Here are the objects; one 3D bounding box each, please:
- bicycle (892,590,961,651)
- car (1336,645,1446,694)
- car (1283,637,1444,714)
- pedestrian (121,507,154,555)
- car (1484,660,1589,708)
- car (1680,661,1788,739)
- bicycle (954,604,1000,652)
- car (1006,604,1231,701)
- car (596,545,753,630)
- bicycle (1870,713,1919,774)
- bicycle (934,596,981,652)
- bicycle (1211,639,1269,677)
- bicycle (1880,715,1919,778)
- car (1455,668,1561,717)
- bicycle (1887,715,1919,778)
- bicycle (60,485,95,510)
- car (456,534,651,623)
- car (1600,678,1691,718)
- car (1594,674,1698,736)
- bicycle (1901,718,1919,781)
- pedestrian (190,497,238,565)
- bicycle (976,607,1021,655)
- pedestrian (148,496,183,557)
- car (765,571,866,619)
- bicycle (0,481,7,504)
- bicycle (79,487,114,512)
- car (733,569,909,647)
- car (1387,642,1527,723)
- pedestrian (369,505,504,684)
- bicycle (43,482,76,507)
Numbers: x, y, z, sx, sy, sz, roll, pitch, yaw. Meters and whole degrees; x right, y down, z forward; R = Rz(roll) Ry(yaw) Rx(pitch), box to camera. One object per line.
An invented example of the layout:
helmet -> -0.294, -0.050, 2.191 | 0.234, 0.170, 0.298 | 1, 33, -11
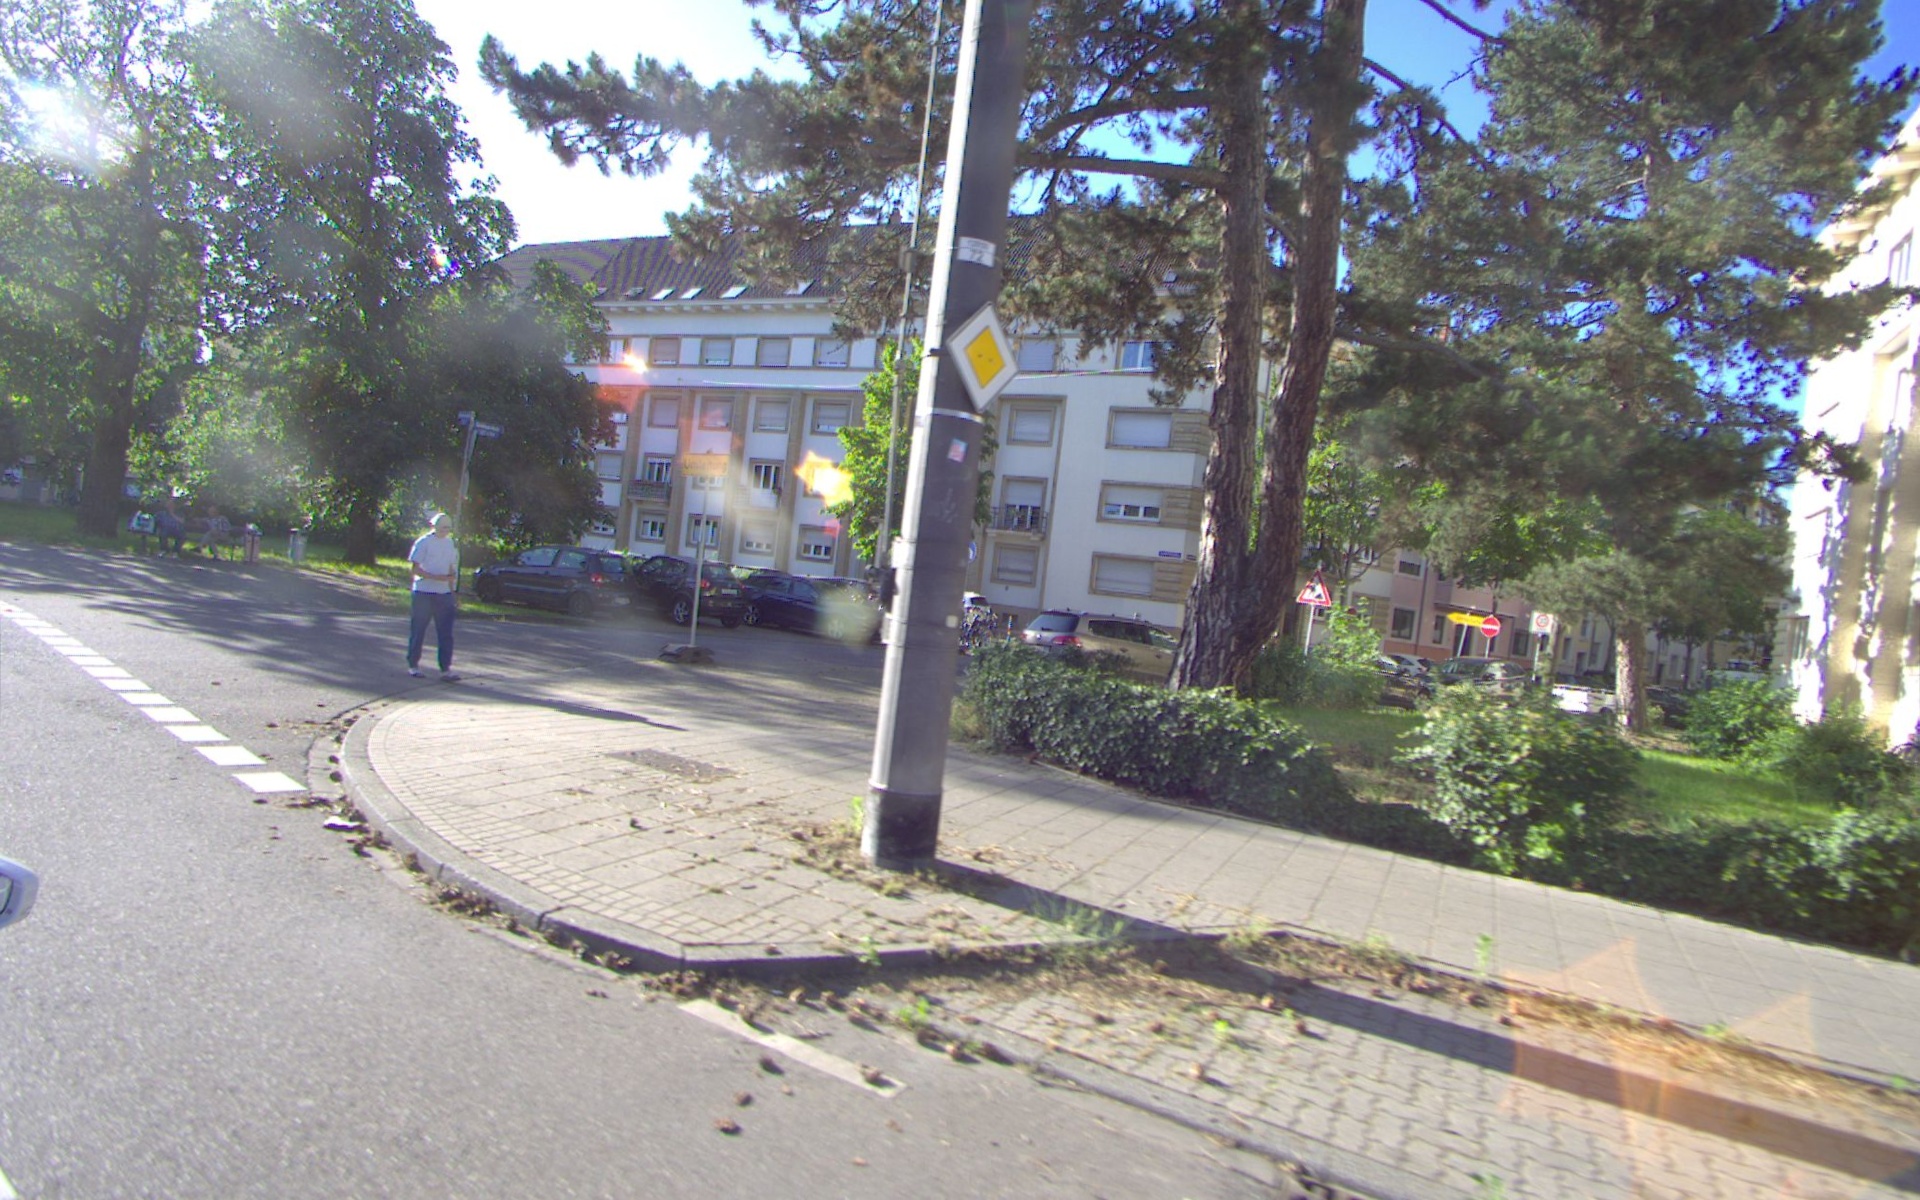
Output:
bicycle -> -0.980, 0.560, 28.347 | 0.747, 1.475, 2.318 | 9, -1, -31
car -> 18.880, 3.026, 44.247 | 1.802, 1.570, 3.963 | 9, -2, -35
car -> 9.678, 1.827, 24.039 | 3.878, 1.489, 1.750 | 5, 2, -38
pedestrian -> -17.660, -1.486, 21.609 | 0.401, 0.946, 0.617 | 9, 1, -35
car -> 29.063, 4.220, 50.804 | 1.983, 1.725, 3.963 | 9, -2, -35
car -> 31.305, 4.078, 40.609 | 5.281, 2.470, 2.103 | 10, -2, -39
bicycle -> 0.467, 0.784, 29.015 | 0.552, 1.241, 2.331 | 8, -2, -14
car -> 3.116, 1.035, 19.318 | 4.268, 1.519, 1.752 | 6, -1, -38
car -> -7.020, -0.313, 24.600 | 3.745, 1.593, 1.452 | 8, 2, 32
bicycle -> 19.582, 2.977, 20.500 | 1.365, 1.127, 0.389 | 8, 3, 34
bicycle -> -0.097, 0.651, 28.779 | 0.552, 1.475, 2.330 | 8, -1, -15
bicycle -> 10.964, 2.250, 39.504 | 2.035, 1.202, 0.594 | 7, -1, 45
bicycle -> 19.148, 2.954, 19.799 | 1.365, 1.127, 0.389 | 8, 3, 34
car -> 26.781, 4.514, 49.248 | 1.983, 1.725, 3.963 | 9, -2, -35
bicycle -> 18.887, 2.898, 19.373 | 1.365, 1.127, 0.389 | 8, 3, 34
bicycle -> -45.080, -5.258, 51.375 | 1.972, 1.046, 0.598 | 8, -1, 28
car -> -9.100, -0.475, 22.566 | 3.737, 1.514, 1.640 | 7, 2, 17
car -> 41.130, 5.877, 60.447 | 1.983, 1.725, 3.963 | 9, -2, -35
car -> 23.729, 3.653, 34.764 | 3.972, 1.629, 1.781 | 10, -2, -39
bicycle -> 18.491, 2.872, 18.637 | 1.365, 1.127, 0.389 | 8, 3, 34
pedestrian -> -16.725, -1.544, 22.573 | 0.681, 1.389, 0.748 | 9, -1, -35
bicycle -> 1.091, 0.872, 29.105 | 0.546, 1.232, 2.332 | 8, -2, -13
pedestrian -> -17.284, -1.595, 21.903 | 0.401, 1.240, 0.754 | 8, -1, -35
car -> -4.758, -0.169, 33.490 | 1.549, 1.390, 3.347 | 8, 4, 29
bicycle -> -61.545, -6.976, 63.065 | 0.597, 1.415, 2.478 | 8, -2, 27
bicycle -> -44.448, -5.157, 51.773 | 1.956, 1.046, 0.598 | 8, -1, 28
car -> -3.624, 0.207, 26.142 | 4.164, 1.459, 1.639 | 8, 2, 23
car -> 13.619, 2.278, 27.495 | 3.881, 1.732, 1.750 | 8, 1, -38
pedestrian -> -5.490, -0.043, 10.564 | 0.713, 1.744, 0.880 | 8, 2, 34
bicycle -> -45.480, -5.309, 50.809 | 1.764, 1.046, 0.598 | 8, -1, 28
